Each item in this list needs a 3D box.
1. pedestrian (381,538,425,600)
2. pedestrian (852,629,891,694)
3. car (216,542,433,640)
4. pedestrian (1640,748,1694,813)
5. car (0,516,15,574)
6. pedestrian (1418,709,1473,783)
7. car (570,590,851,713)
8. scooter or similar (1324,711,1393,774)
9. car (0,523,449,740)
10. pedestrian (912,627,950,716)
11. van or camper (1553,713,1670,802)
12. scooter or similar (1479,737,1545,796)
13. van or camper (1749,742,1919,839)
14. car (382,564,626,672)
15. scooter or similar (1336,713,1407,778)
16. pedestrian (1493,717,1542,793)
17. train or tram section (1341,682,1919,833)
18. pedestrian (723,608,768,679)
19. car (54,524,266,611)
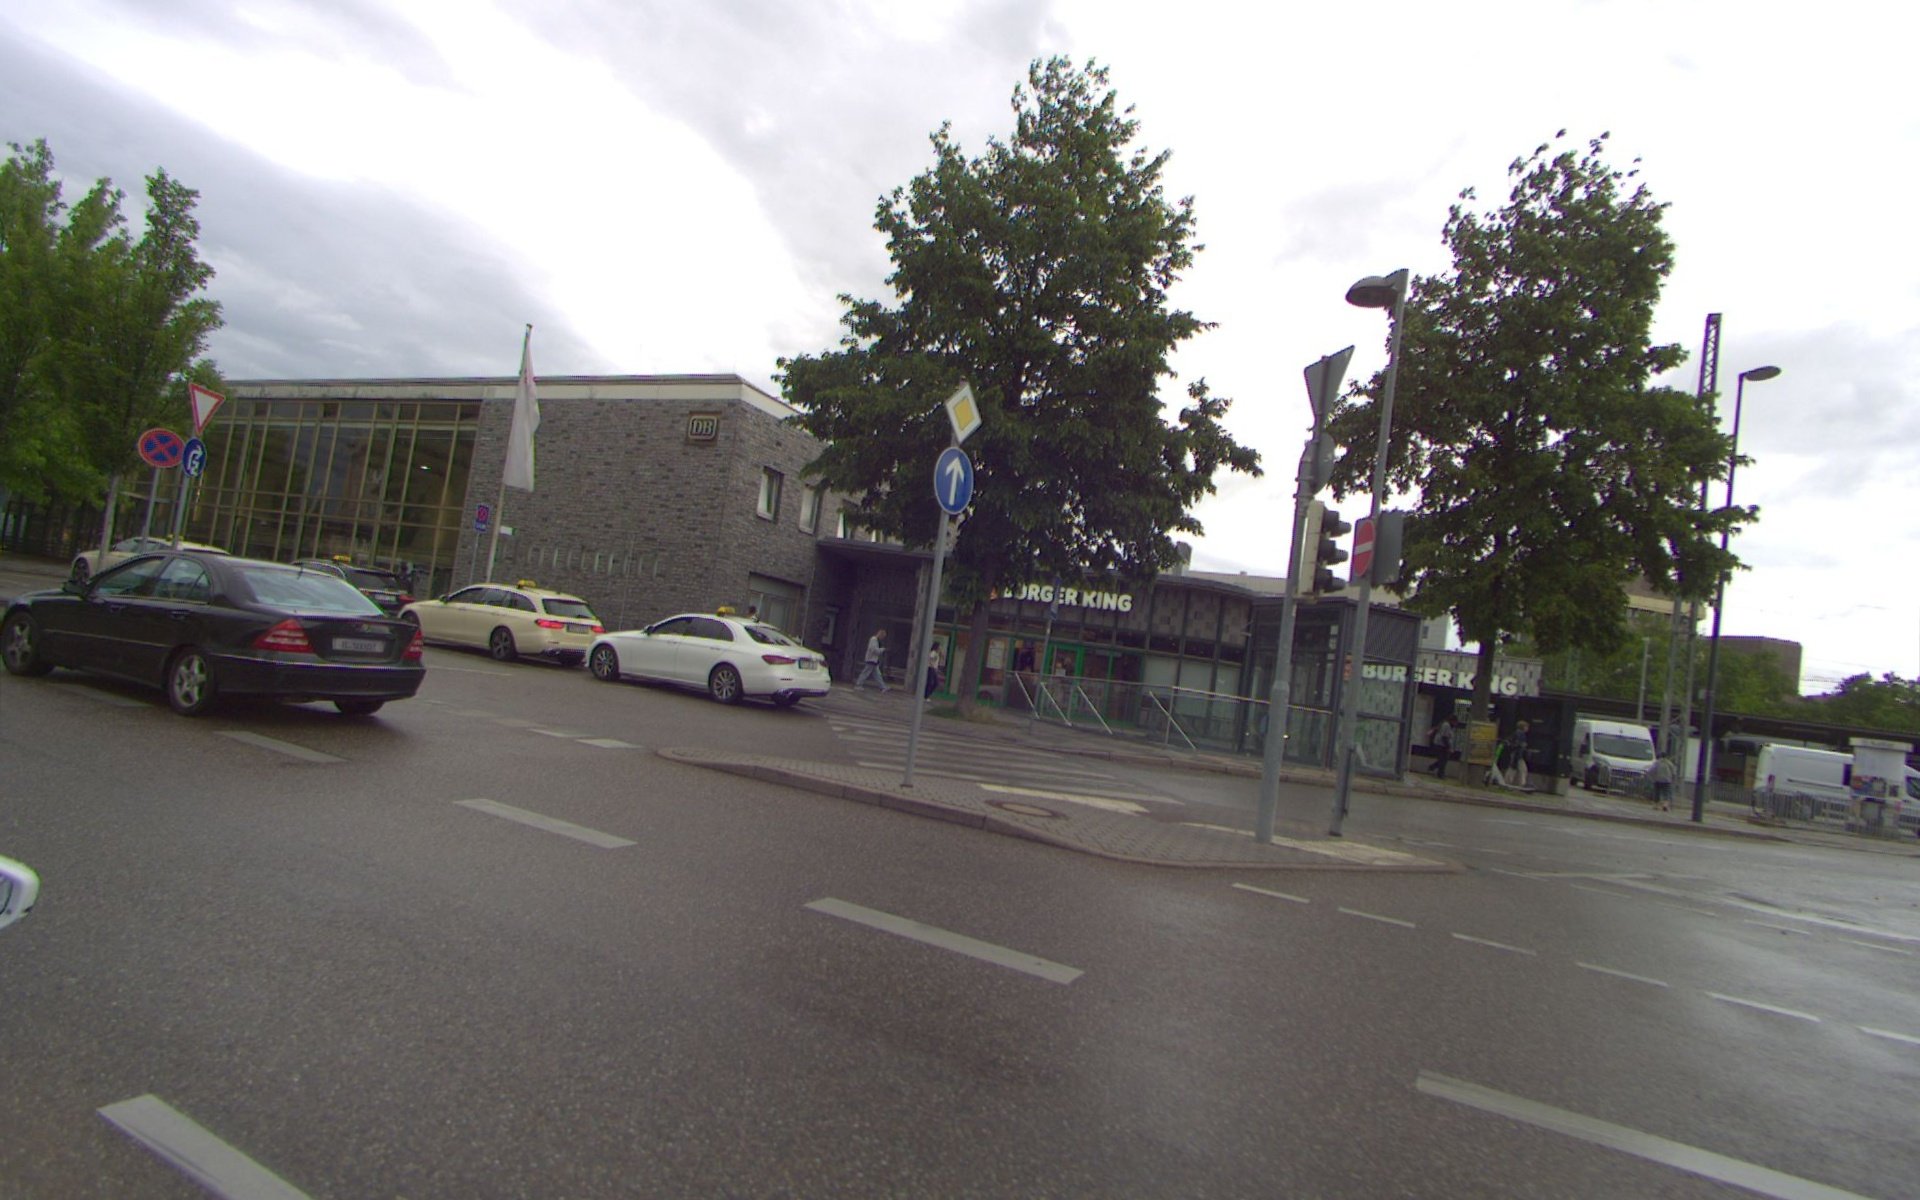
[{"bbox_3d":[-15.878,-0.871,28.697,0.785,1.645,0.721,7,-1,-16],"label":"pedestrian"},{"bbox_3d":[-2.339,1.625,26.576,0.700,1.598,0.768,7,-1,-18],"label":"pedestrian"},{"bbox_3d":[-15.062,-0.225,23.809,4.871,1.617,2.001,6,-3,27],"label":"car"},{"bbox_3d":[18.720,4.773,26.652,0.825,1.547,0.638,7,-1,-2],"label":"pedestrian"},{"bbox_3d":[-28.217,-1.817,26.328,4.699,1.563,1.762,8,-3,-12],"label":"car"},{"bbox_3d":[11.980,3.597,24.822,0.713,1.687,0.793,7,-1,-23],"label":"pedestrian"},{"bbox_3d":[-4.582,0.911,18.310,4.818,1.618,1.884,6,-2,29],"label":"car"},{"bbox_3d":[8.621,3.078,21.777,1.281,1.196,0.333,7,-1,-5],"label":"scooter or similar"},{"bbox_3d":[-7.315,0.242,9.687,4.370,1.483,1.701,6,-2,22],"label":"car"},{"bbox_3d":[-0.758,1.839,26.055,0.709,2.190,0.797,6,-1,-3],"label":"pedestrian"},{"bbox_3d":[23.047,5.492,35.861,2.126,2.461,5.867,6,-2,21],"label":"van or camper"},{"bbox_3d":[12.869,3.890,23.471,1.281,1.196,0.333,7,-1,-5],"label":"scooter or similar"},{"bbox_3d":[30.925,6.577,34.395,5.763,2.462,1.999,6,-2,28],"label":"van or camper"},{"bbox_3d":[-9.570,0.360,21.030,4.873,1.618,1.999,6,-2,29],"label":"car"},{"bbox_3d":[8.662,3.064,21.176,1.281,1.196,0.333,7,-1,-5],"label":"scooter or similar"},{"bbox_3d":[13.394,3.703,24.167,0.786,1.687,0.720,6,-1,38],"label":"pedestrian"},{"bbox_3d":[38.604,8.886,60.522,28.801,4.230,4.603,6,-2,28],"label":"train or tram section"},{"bbox_3d":[-5.440,1.116,25.551,0.762,1.686,0.647,7,-1,6],"label":"pedestrian"},{"bbox_3d":[-20.928,-0.842,26.337,4.866,1.618,2.001,7,-2,20],"label":"car"}]
